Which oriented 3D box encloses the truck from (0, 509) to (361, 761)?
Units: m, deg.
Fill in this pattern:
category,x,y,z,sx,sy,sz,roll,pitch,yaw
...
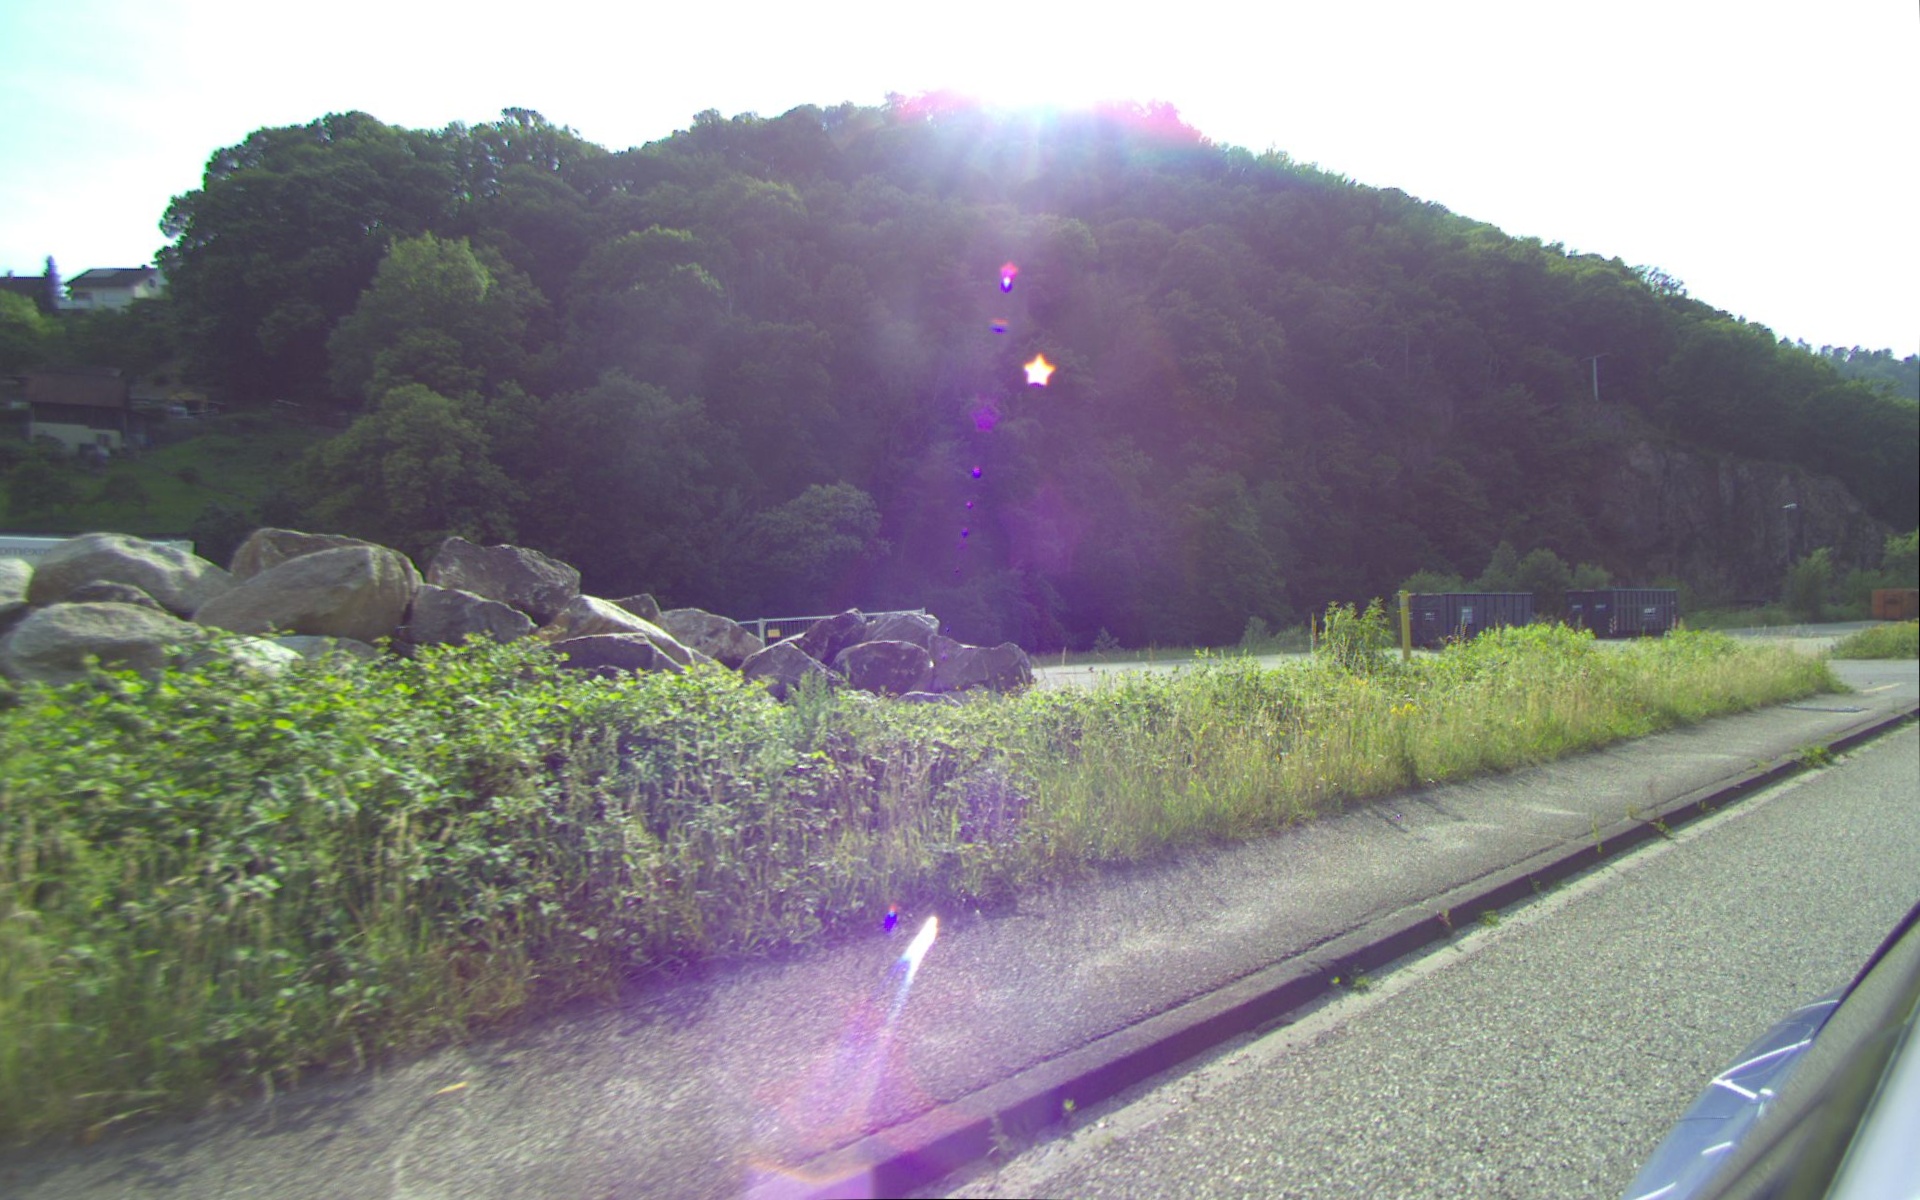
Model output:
category,x,y,z,sx,sy,sz,roll,pitch,yaw
truck,-15.147,0.580,16.962,8.486,3.831,3.110,-1,-2,-38
